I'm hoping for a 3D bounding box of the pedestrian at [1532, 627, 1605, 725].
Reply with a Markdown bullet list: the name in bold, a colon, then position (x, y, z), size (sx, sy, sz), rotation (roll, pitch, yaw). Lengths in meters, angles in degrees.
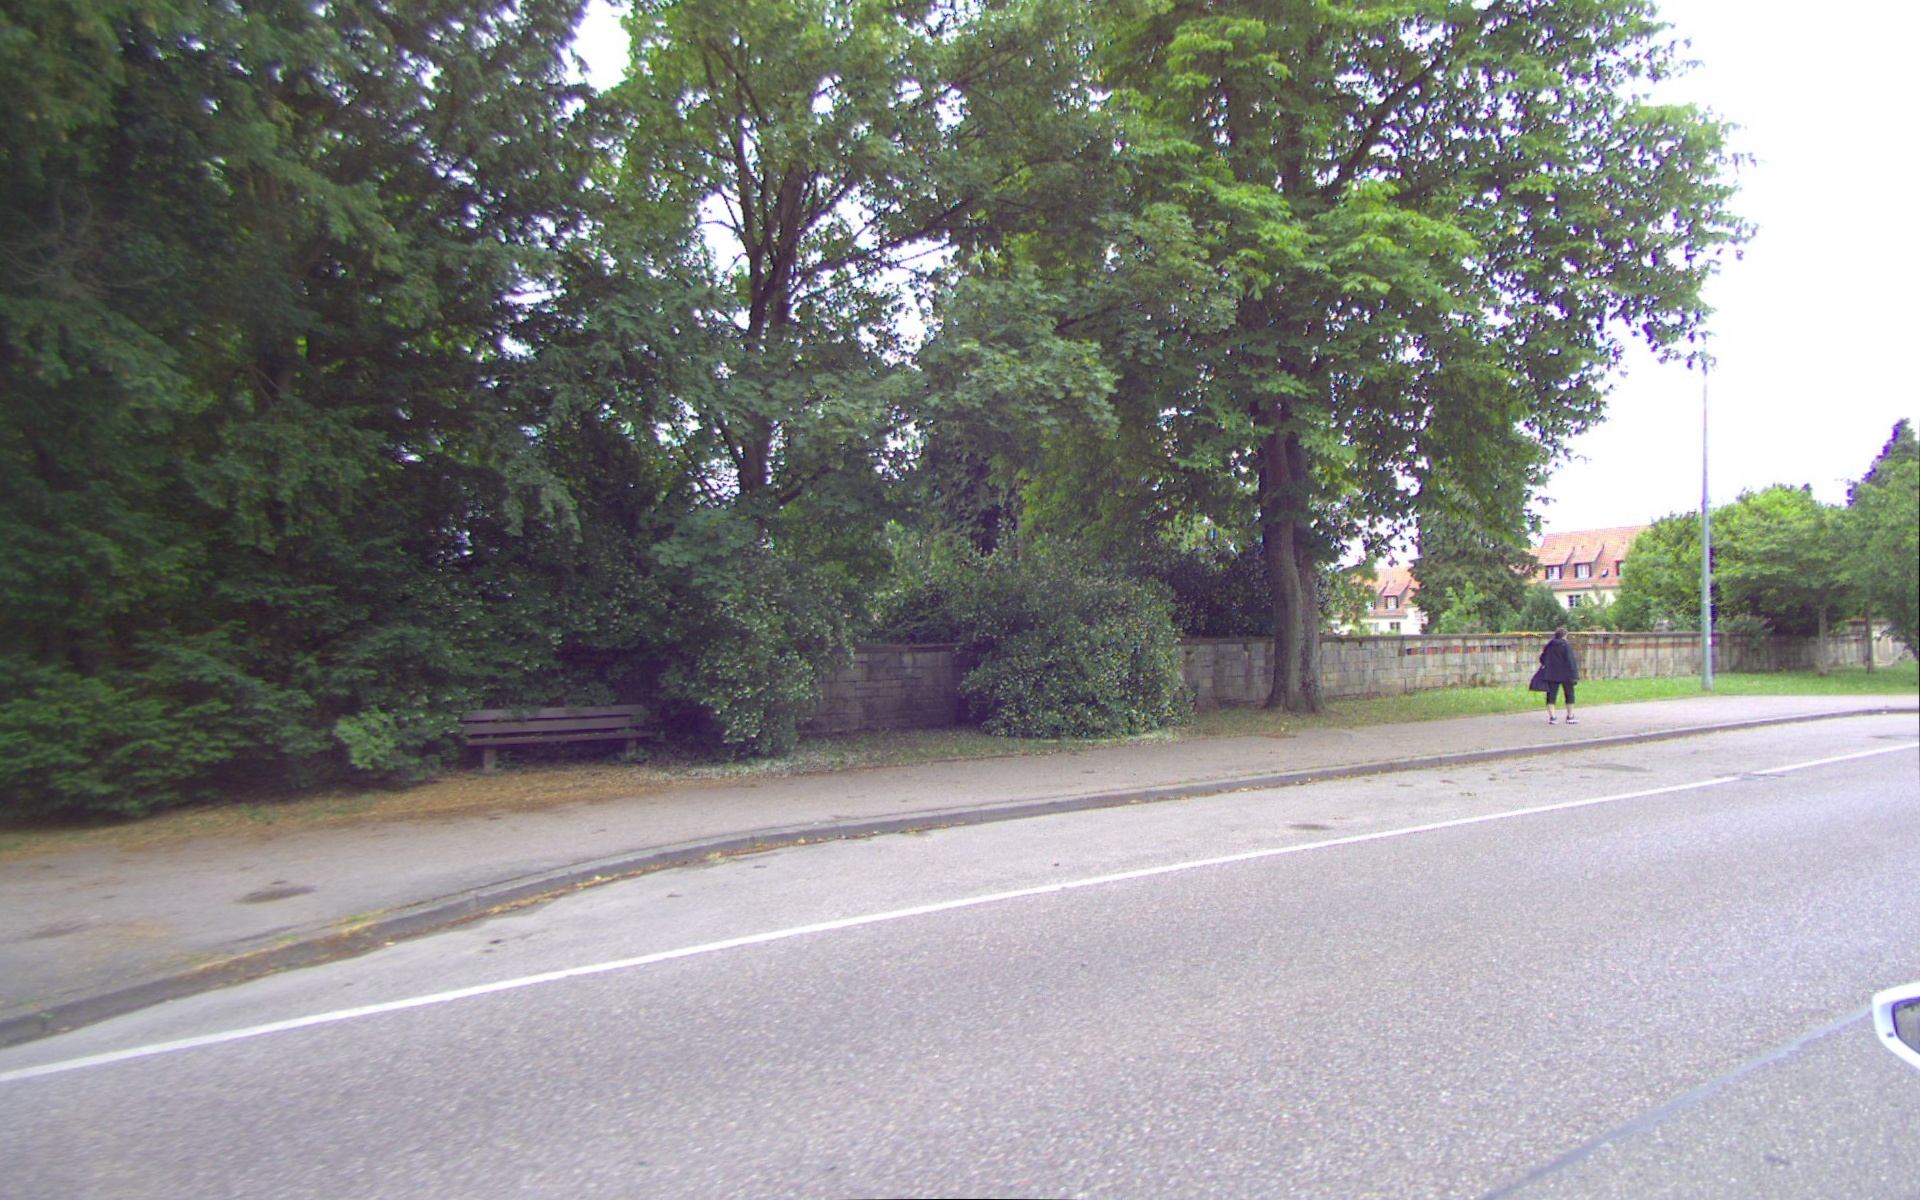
- **pedestrian**: position (10.321, 1.257, 17.043), size (0.957, 1.599, 0.744), rotation (1, -1, -35)
